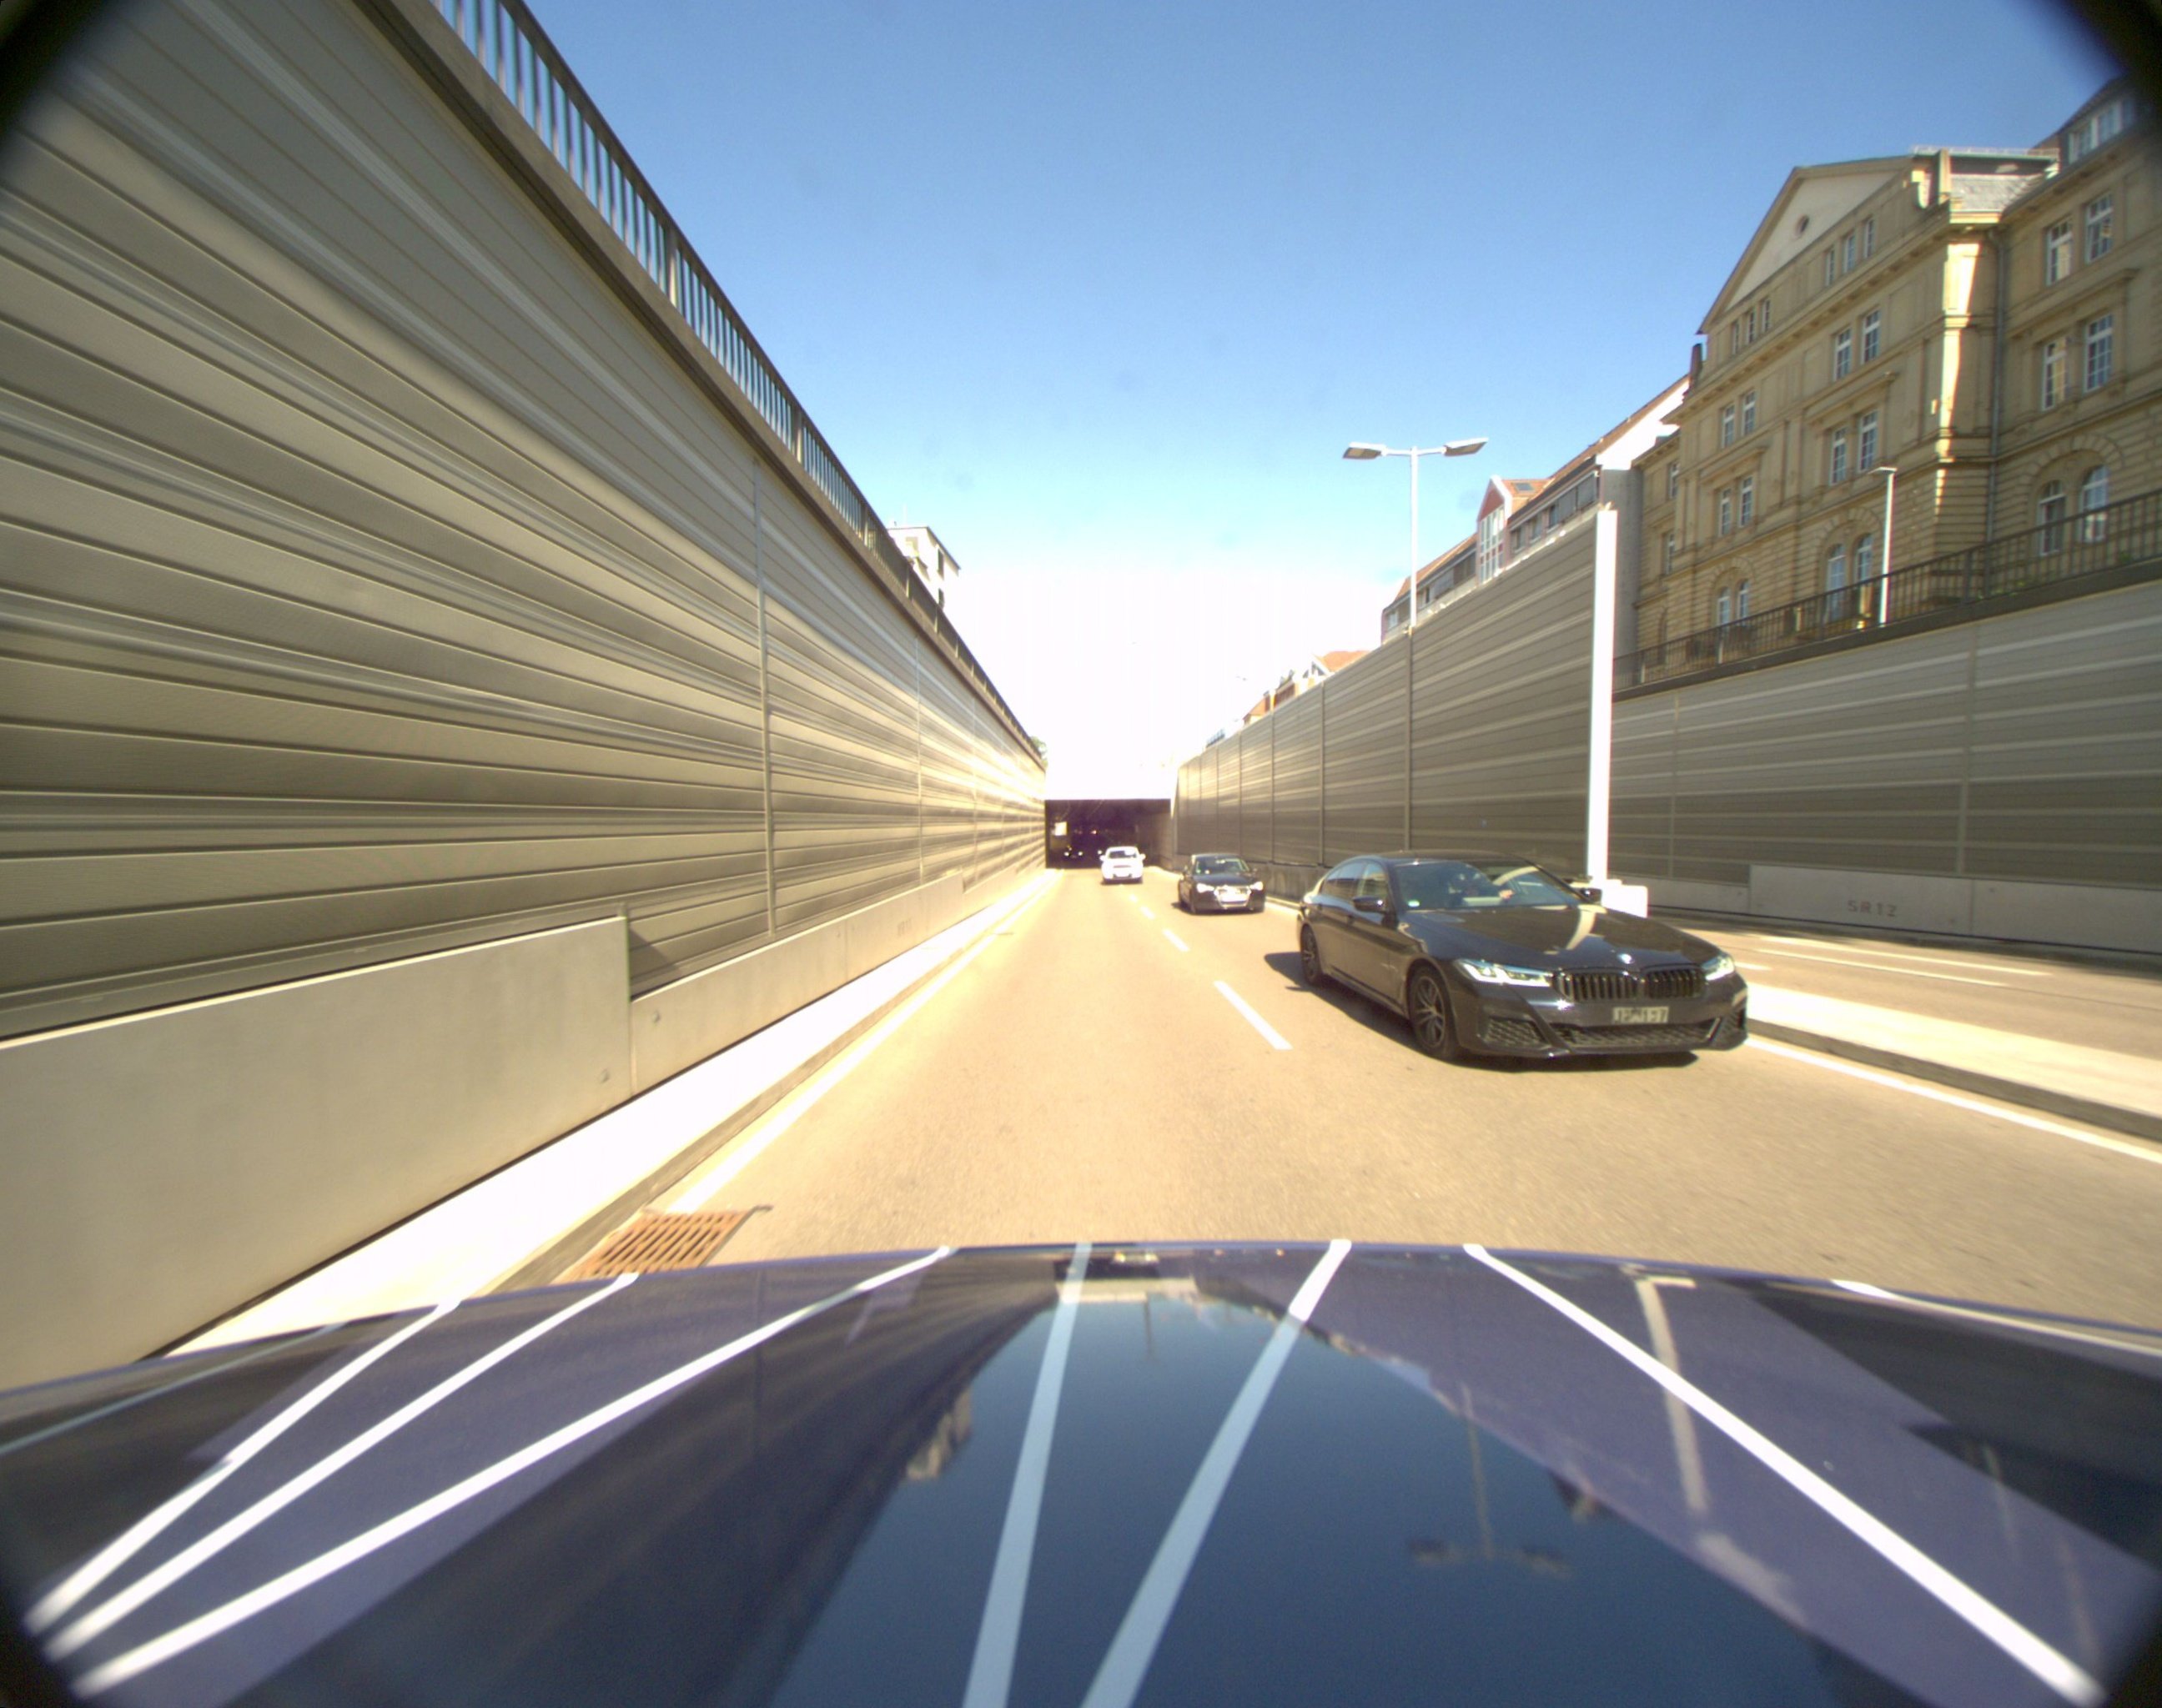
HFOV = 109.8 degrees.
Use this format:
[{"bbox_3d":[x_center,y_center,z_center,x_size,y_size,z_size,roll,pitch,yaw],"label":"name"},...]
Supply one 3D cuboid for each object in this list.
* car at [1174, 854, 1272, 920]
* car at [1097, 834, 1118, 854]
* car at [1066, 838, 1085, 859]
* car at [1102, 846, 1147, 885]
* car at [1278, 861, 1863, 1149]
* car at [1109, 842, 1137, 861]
[{"bbox_3d":[3.406,0.742,18.903,1.700,1.410,3.888,-2,0,0],"label":"car"},{"bbox_3d":[2.850,-1.083,82.848,1.999,2.002,3.998,-2,2,-1],"label":"car"},{"bbox_3d":[-0.563,-0.632,78.244,1.785,2.002,3.907,-2,2,0],"label":"car"},{"bbox_3d":[1.957,0.466,35.101,1.855,1.658,3.969,-1,1,1],"label":"car"},{"bbox_3d":[3.272,0.831,6.567,1.813,1.431,5.002,-2,0,0],"label":"car"},{"bbox_3d":[3.296,-0.221,59.776,1.998,1.407,3.999,-2,1,1],"label":"car"}]
